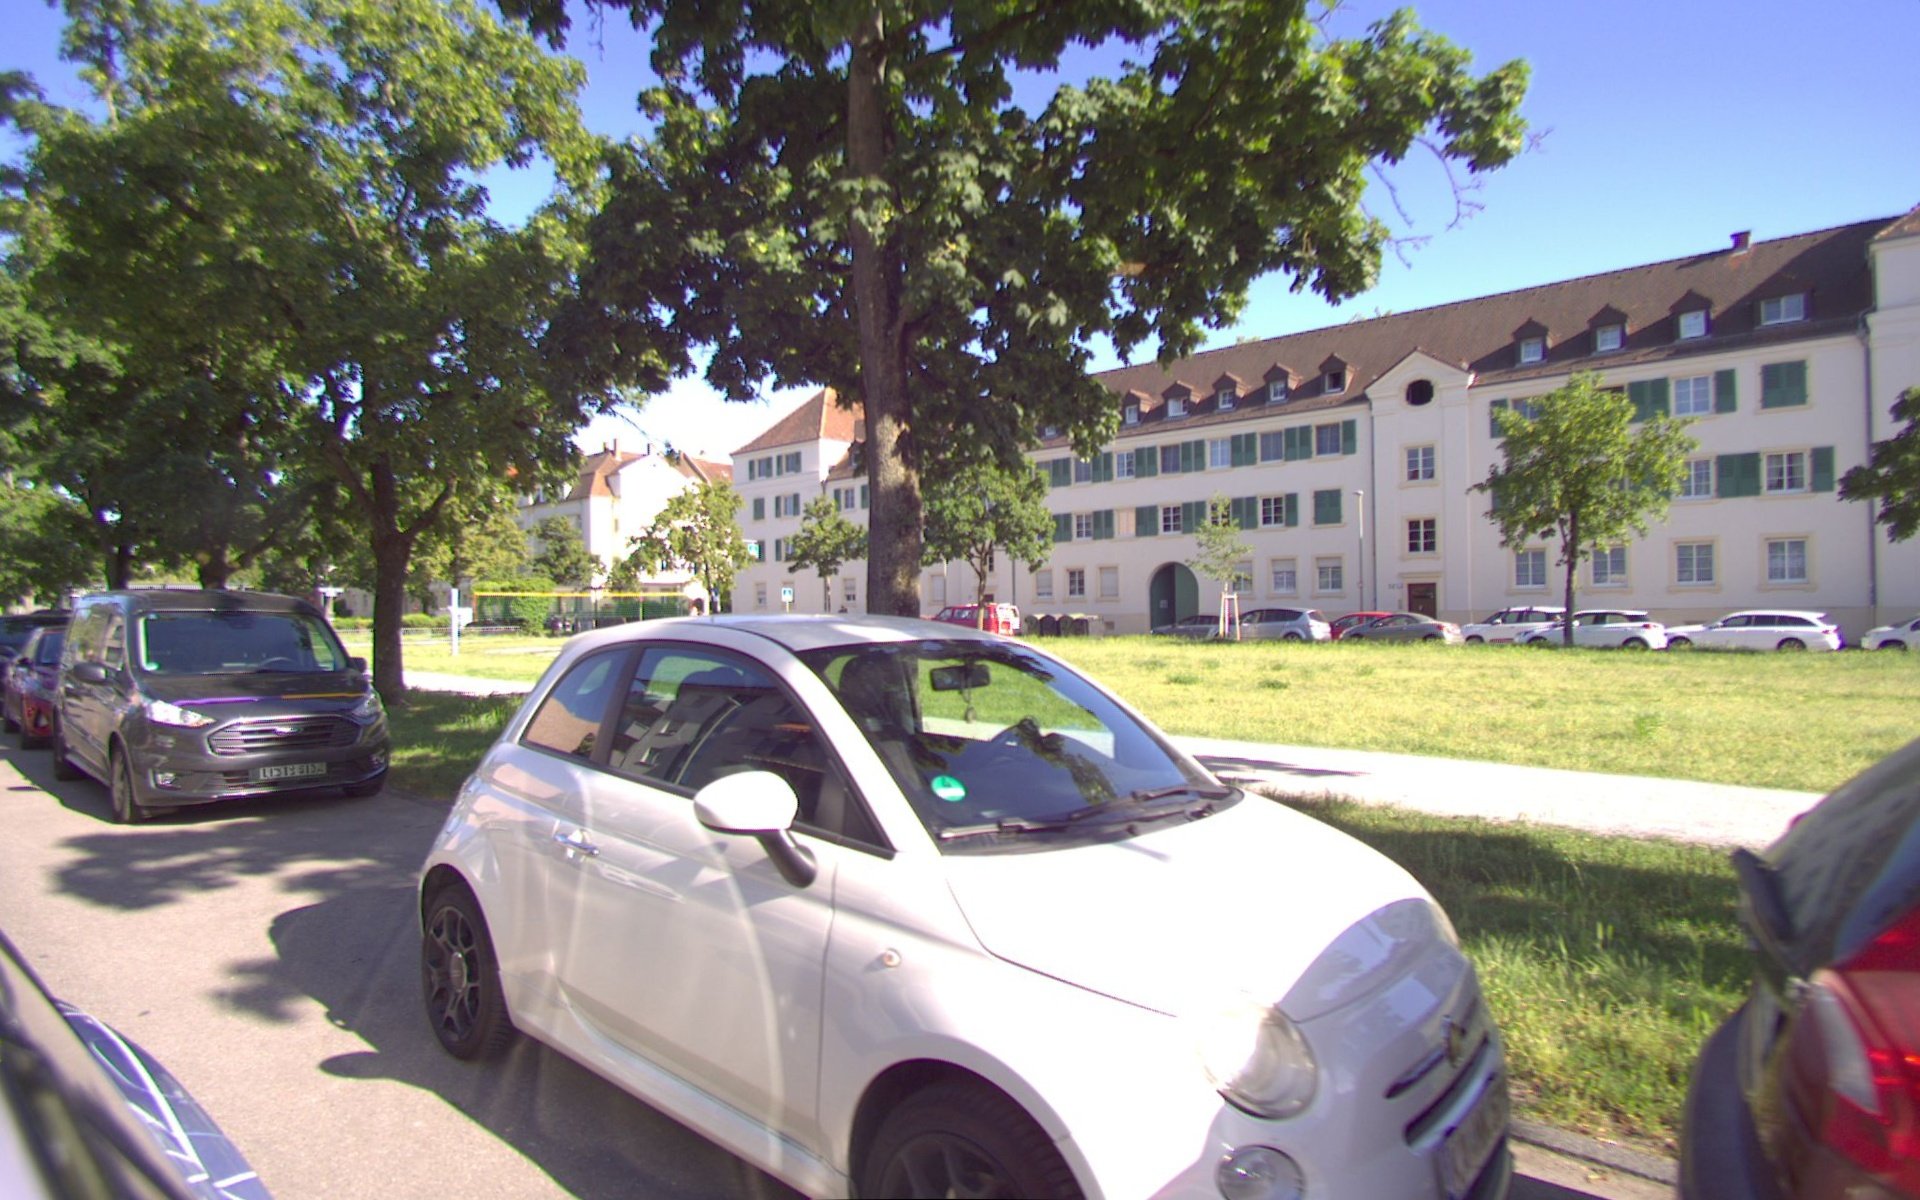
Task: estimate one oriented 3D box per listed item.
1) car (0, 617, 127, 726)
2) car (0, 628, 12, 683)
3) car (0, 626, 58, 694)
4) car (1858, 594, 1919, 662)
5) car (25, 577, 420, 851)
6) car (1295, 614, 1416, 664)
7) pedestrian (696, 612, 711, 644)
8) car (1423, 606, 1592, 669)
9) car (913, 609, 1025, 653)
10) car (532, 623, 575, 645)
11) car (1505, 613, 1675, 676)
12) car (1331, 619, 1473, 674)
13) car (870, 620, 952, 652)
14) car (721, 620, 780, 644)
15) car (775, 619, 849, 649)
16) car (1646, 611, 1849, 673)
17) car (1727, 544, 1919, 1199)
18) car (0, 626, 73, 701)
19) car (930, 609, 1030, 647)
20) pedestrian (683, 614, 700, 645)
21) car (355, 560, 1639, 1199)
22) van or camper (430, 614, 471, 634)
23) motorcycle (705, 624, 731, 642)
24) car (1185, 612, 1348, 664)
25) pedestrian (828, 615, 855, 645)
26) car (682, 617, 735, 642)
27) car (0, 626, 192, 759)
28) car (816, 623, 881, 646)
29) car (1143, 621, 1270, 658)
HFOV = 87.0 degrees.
[{"bbox_3d":[-15.931,1.146,17.271,4.757,1.638,2.004,-2,-3,43],"label":"car"},{"bbox_3d":[-28.118,1.527,28.236,4.964,1.463,1.817,-1,-2,40],"label":"car"},{"bbox_3d":[-23.820,1.417,24.648,5.153,1.528,1.974,-2,-3,39],"label":"car"},{"bbox_3d":[29.535,0.822,30.308,3.895,2.029,1.648,-1,-1,41],"label":"car"},{"bbox_3d":[-6.752,0.782,9.013,4.990,1.798,1.844,-1,-1,42],"label":"car"},{"bbox_3d":[16.393,1.590,42.042,4.164,1.919,2.240,-2,-1,40],"label":"car"},{"bbox_3d":[-13.982,1.535,55.132,0.537,1.698,0.674,0,-2,-44],"label":"pedestrian"},{"bbox_3d":[20.718,1.383,38.414,5.253,2.233,2.505,-2,-1,40],"label":"car"},{"bbox_3d":[0.379,1.476,48.956,5.256,1.999,2.197,-2,-1,42],"label":"car"},{"bbox_3d":[-34.940,2.916,87.027,4.000,1.807,1.929,-2,-1,43],"label":"car"},{"bbox_3d":[19.723,1.355,31.744,4.253,1.834,2.213,-2,-1,40],"label":"car"},{"bbox_3d":[15.472,1.587,35.507,4.009,1.763,2.292,-2,-1,43],"label":"car"},{"bbox_3d":[-2.872,2.057,58.838,4.640,1.777,1.974,-2,-1,40],"label":"car"},{"bbox_3d":[-12.356,1.892,59.622,3.512,1.343,1.633,-2,-1,41],"label":"car"},{"bbox_3d":[-8.241,1.893,56.206,4.233,1.595,1.770,-2,-1,41],"label":"car"},{"bbox_3d":[25.972,1.353,33.523,5.156,1.900,2.131,-2,-1,41],"label":"car"},{"bbox_3d":[3.131,0.682,0.191,4.664,1.503,1.737,-2,-3,40],"label":"car"},{"bbox_3d":[-20.100,1.274,21.213,3.803,1.429,1.860,-1,-1,43],"label":"car"},{"bbox_3d":[1.069,1.539,55.411,5.252,1.999,2.198,-2,-1,39],"label":"car"},{"bbox_3d":[-14.511,1.592,54.715,0.750,1.698,0.537,-2,-2,43],"label":"pedestrian"},{"bbox_3d":[-0.258,0.765,3.062,3.682,1.504,1.570,-2,-3,40],"label":"car"},{"bbox_3d":[-51.102,2.389,101.496,4.373,2.029,2.243,-1,-1,42],"label":"van or camper"},{"bbox_3d":[-18.311,2.495,76.429,2.143,1.315,0.807,-2,-1,40],"label":"motorcycle"},{"bbox_3d":[11.692,1.426,38.875,5.453,1.834,2.423,-2,-1,43],"label":"car"},{"bbox_3d":[-7.760,1.947,66.043,1.161,1.978,1.327,-1,-1,36],"label":"pedestrian"},{"bbox_3d":[-20.954,2.440,84.385,2.043,1.970,3.762,-2,-1,43],"label":"car"},{"bbox_3d":[-11.292,1.070,13.059,4.087,1.439,1.521,-2,-1,43],"label":"car"},{"bbox_3d":[-6.864,2.137,62.321,3.998,1.366,1.750,-2,-1,41],"label":"car"},{"bbox_3d":[10.484,1.647,43.275,4.955,1.496,1.973,-2,-2,41],"label":"car"}]
